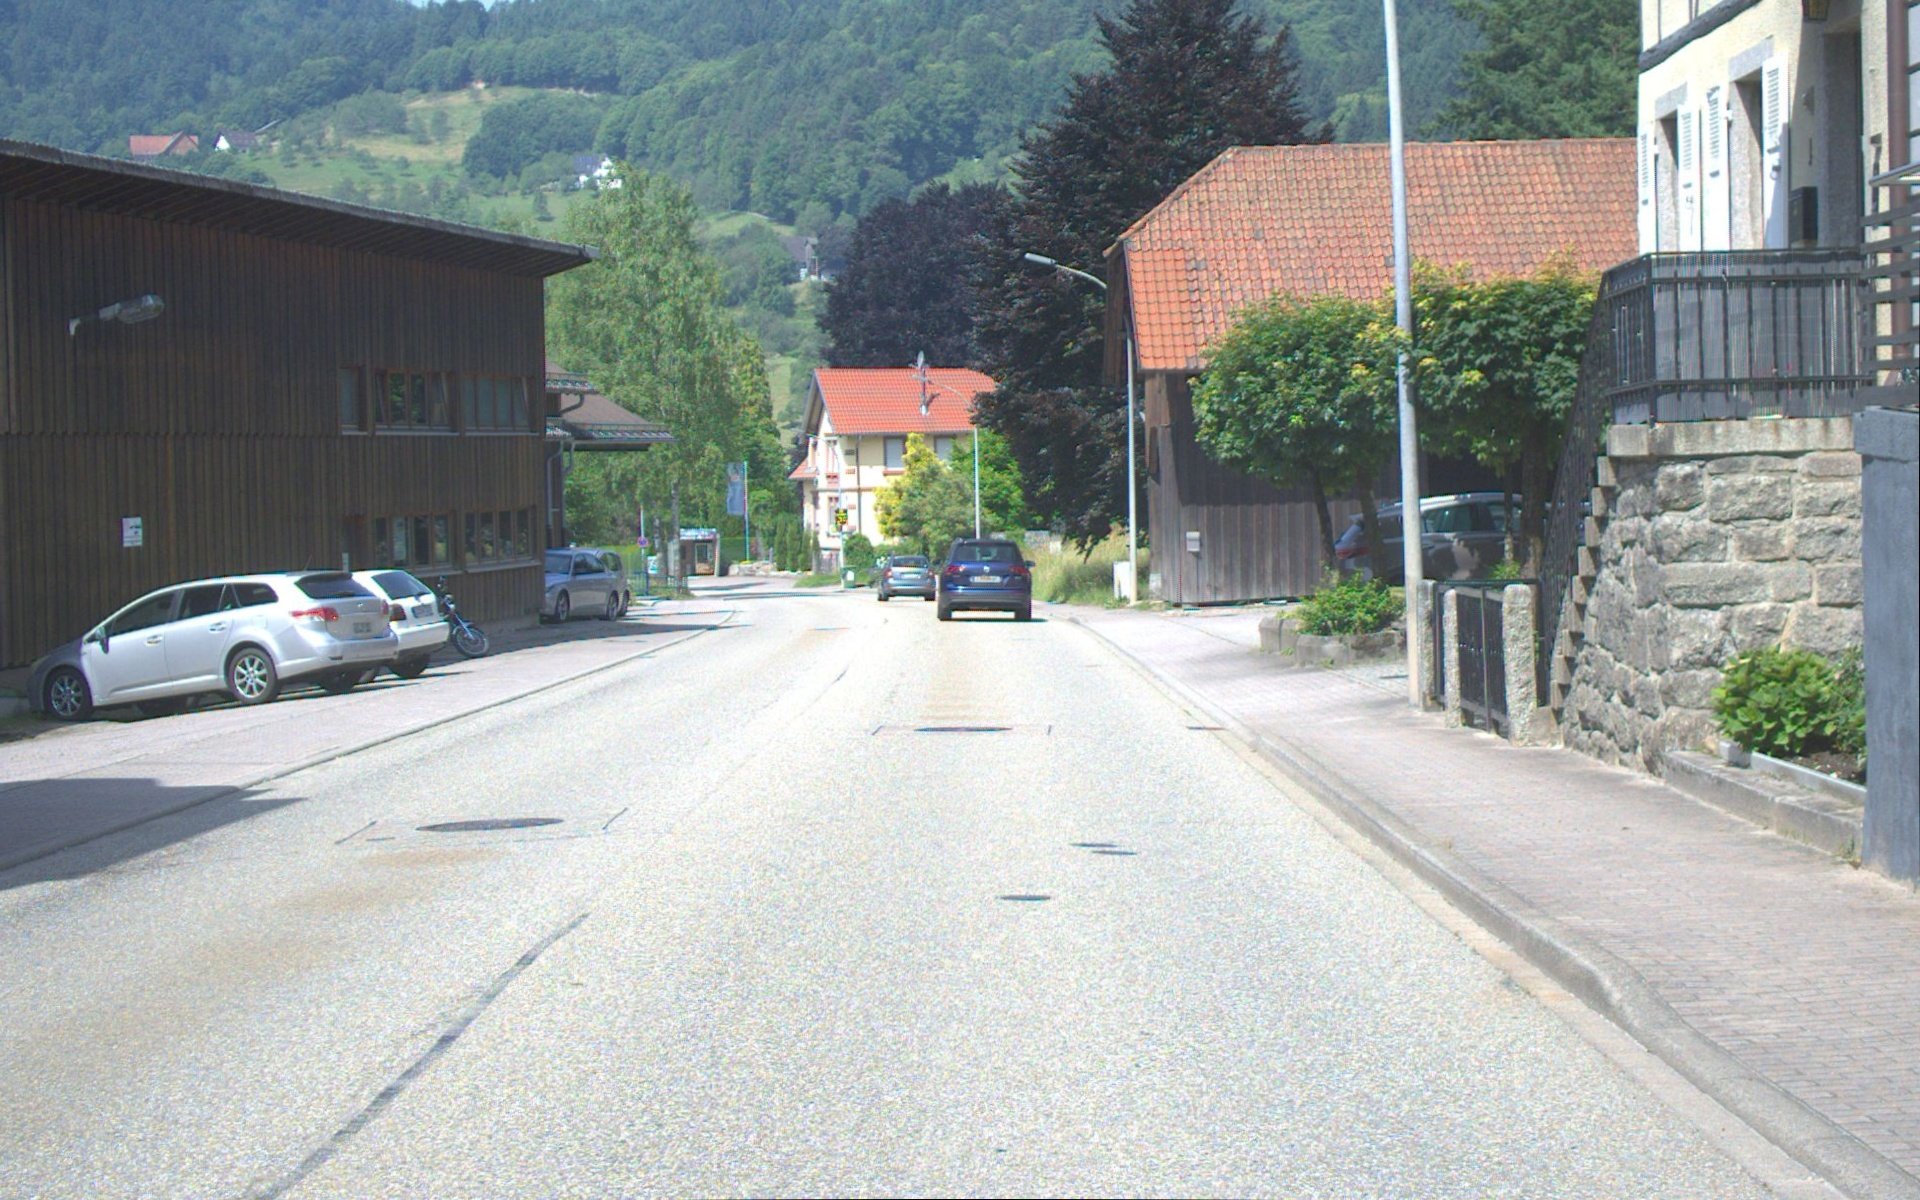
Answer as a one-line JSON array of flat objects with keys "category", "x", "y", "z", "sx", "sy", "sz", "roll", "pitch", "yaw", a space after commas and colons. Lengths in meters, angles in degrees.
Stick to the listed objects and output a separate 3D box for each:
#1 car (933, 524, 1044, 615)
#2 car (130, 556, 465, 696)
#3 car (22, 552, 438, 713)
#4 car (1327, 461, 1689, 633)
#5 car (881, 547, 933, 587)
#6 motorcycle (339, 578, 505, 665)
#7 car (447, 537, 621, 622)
[{"category": "car", "x": 0.532, "y": -0.616, "z": 68.229, "sx": 1.919, "sy": 1.692, "sz": 3.789, "roll": -2, "pitch": 1, "yaw": -3}, {"category": "car", "x": -8.322, "y": 0.320, "z": 43.281, "sx": 3.661, "sy": 1.381, "sz": 1.710, "roll": -5, "pitch": 0, "yaw": 16}, {"category": "car", "x": -8.599, "y": 0.384, "z": 40.461, "sx": 4.435, "sy": 1.469, "sz": 1.922, "roll": -5, "pitch": 1, "yaw": 26}, {"category": "car", "x": 6.869, "y": -0.668, "z": 43.435, "sx": 4.221, "sy": 1.681, "sz": 1.776, "roll": -6, "pitch": 1, "yaw": 4}, {"category": "car", "x": -1.720, "y": -1.066, "z": 110.982, "sx": 1.476, "sy": 1.205, "sz": 2.384, "roll": -3, "pitch": 1, "yaw": -4}, {"category": "motorcycle", "x": -8.412, "y": 0.328, "z": 53.794, "sx": 2.410, "sy": 1.260, "sz": 0.743, "roll": -2, "pitch": 1, "yaw": 10}, {"category": "car", "x": -8.238, "y": -0.423, "z": 66.886, "sx": 1.730, "sy": 1.449, "sz": 4.802, "roll": -1, "pitch": 2, "yaw": 14}]
